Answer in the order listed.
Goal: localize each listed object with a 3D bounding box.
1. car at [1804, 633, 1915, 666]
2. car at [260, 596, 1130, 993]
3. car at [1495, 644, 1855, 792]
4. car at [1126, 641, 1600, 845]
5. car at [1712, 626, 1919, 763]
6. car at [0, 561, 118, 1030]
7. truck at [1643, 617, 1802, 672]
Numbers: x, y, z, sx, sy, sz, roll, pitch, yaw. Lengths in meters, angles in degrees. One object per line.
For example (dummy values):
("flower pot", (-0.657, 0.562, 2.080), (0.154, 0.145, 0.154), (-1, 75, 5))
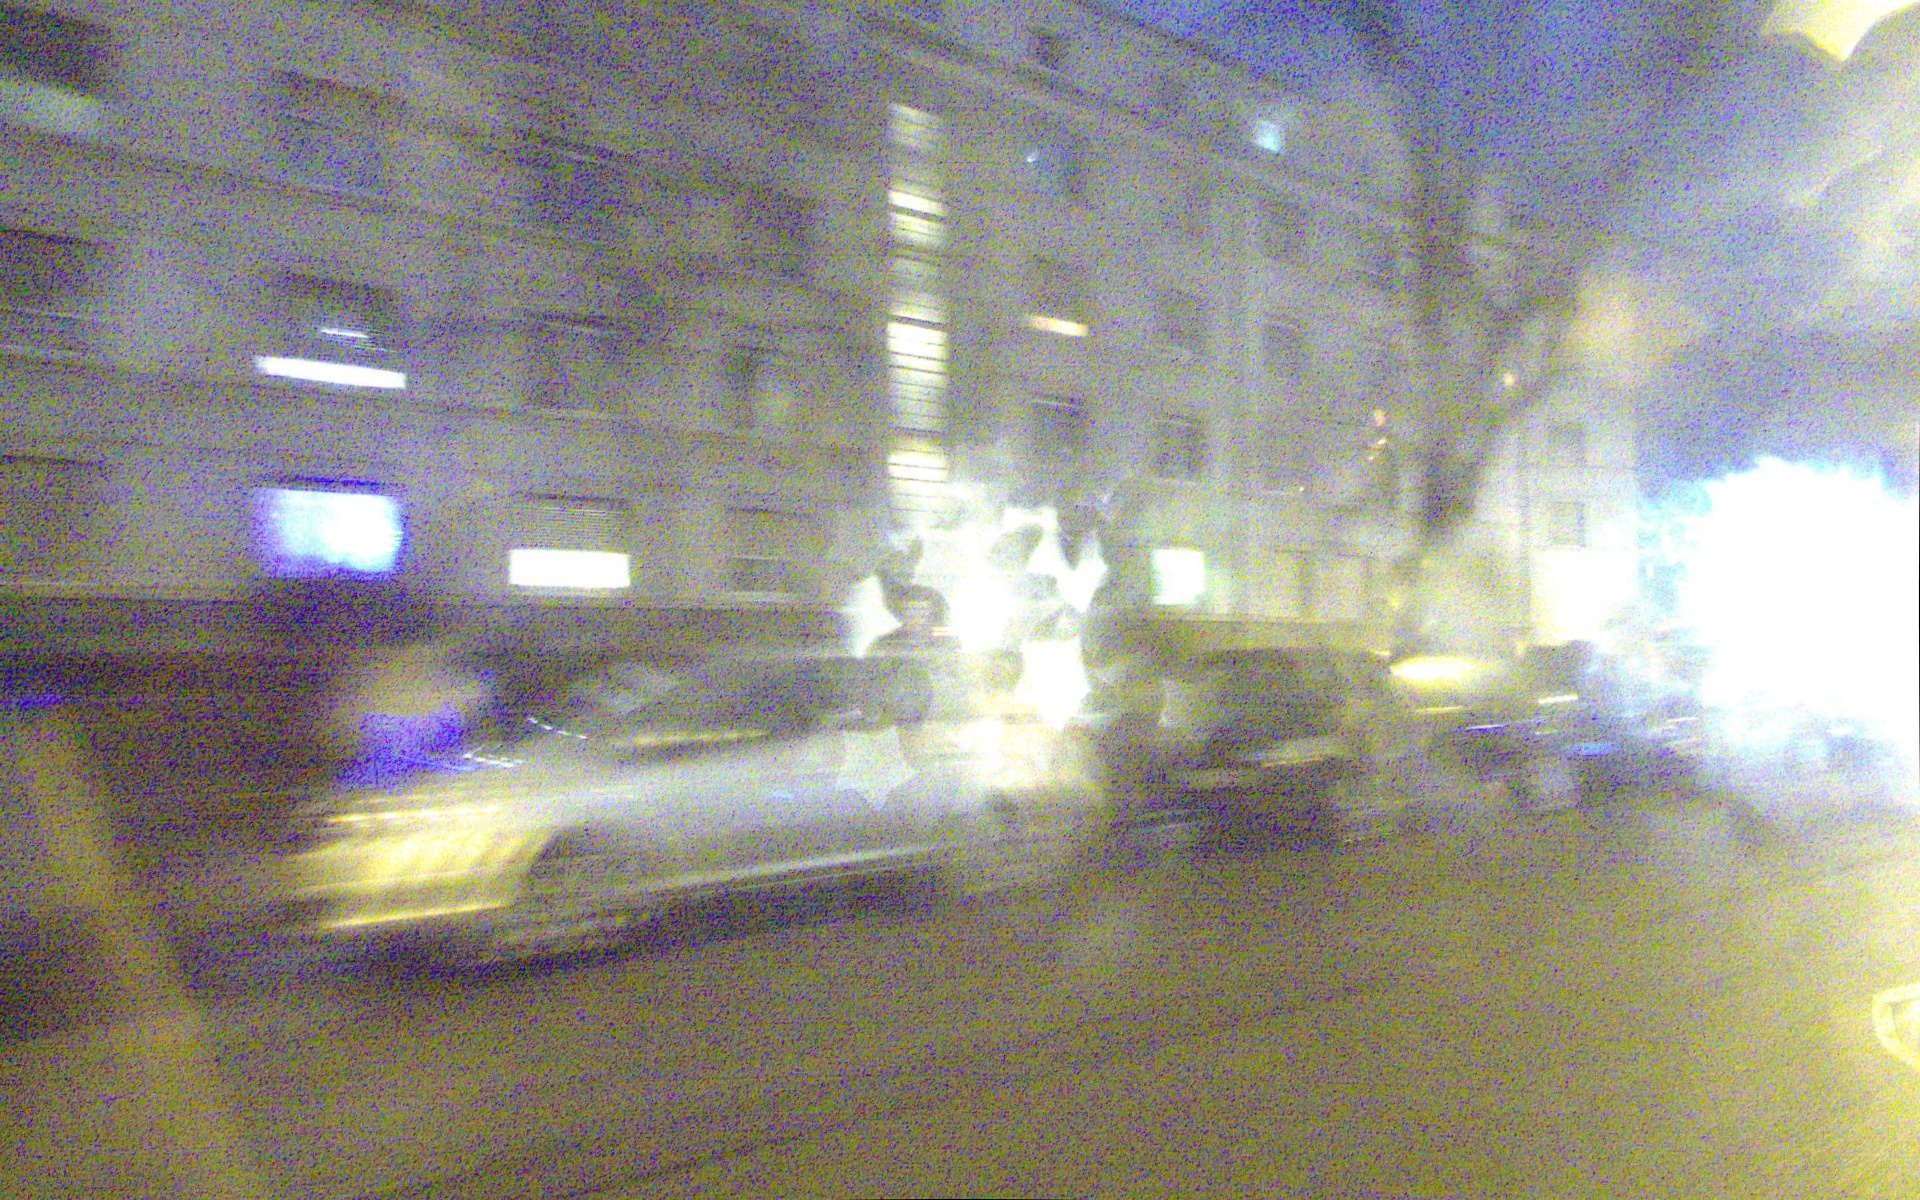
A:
("car", (40.104, 2.203, 44.819), (3.849, 1.450, 1.716), (0, -2, -11))
("car", (-1.223, 0.845, 5.606), (4.224, 1.505, 1.592), (1, -5, -30))
("car", (8.090, 1.229, 11.281), (4.302, 1.390, 1.592), (1, -5, -30))
("car", (3.519, 1.091, 8.613), (4.019, 1.390, 1.592), (1, -5, -30))
("car", (12.072, 1.205, 13.434), (4.328, 1.584, 1.592), (1, -5, -30))
("car", (-5.494, 0.702, 3.058), (4.208, 1.625, 1.592), (1, -5, -30))
("truck", (30.057, 1.736, 39.624), (5.170, 2.040, 2.125), (0, -2, -12))
